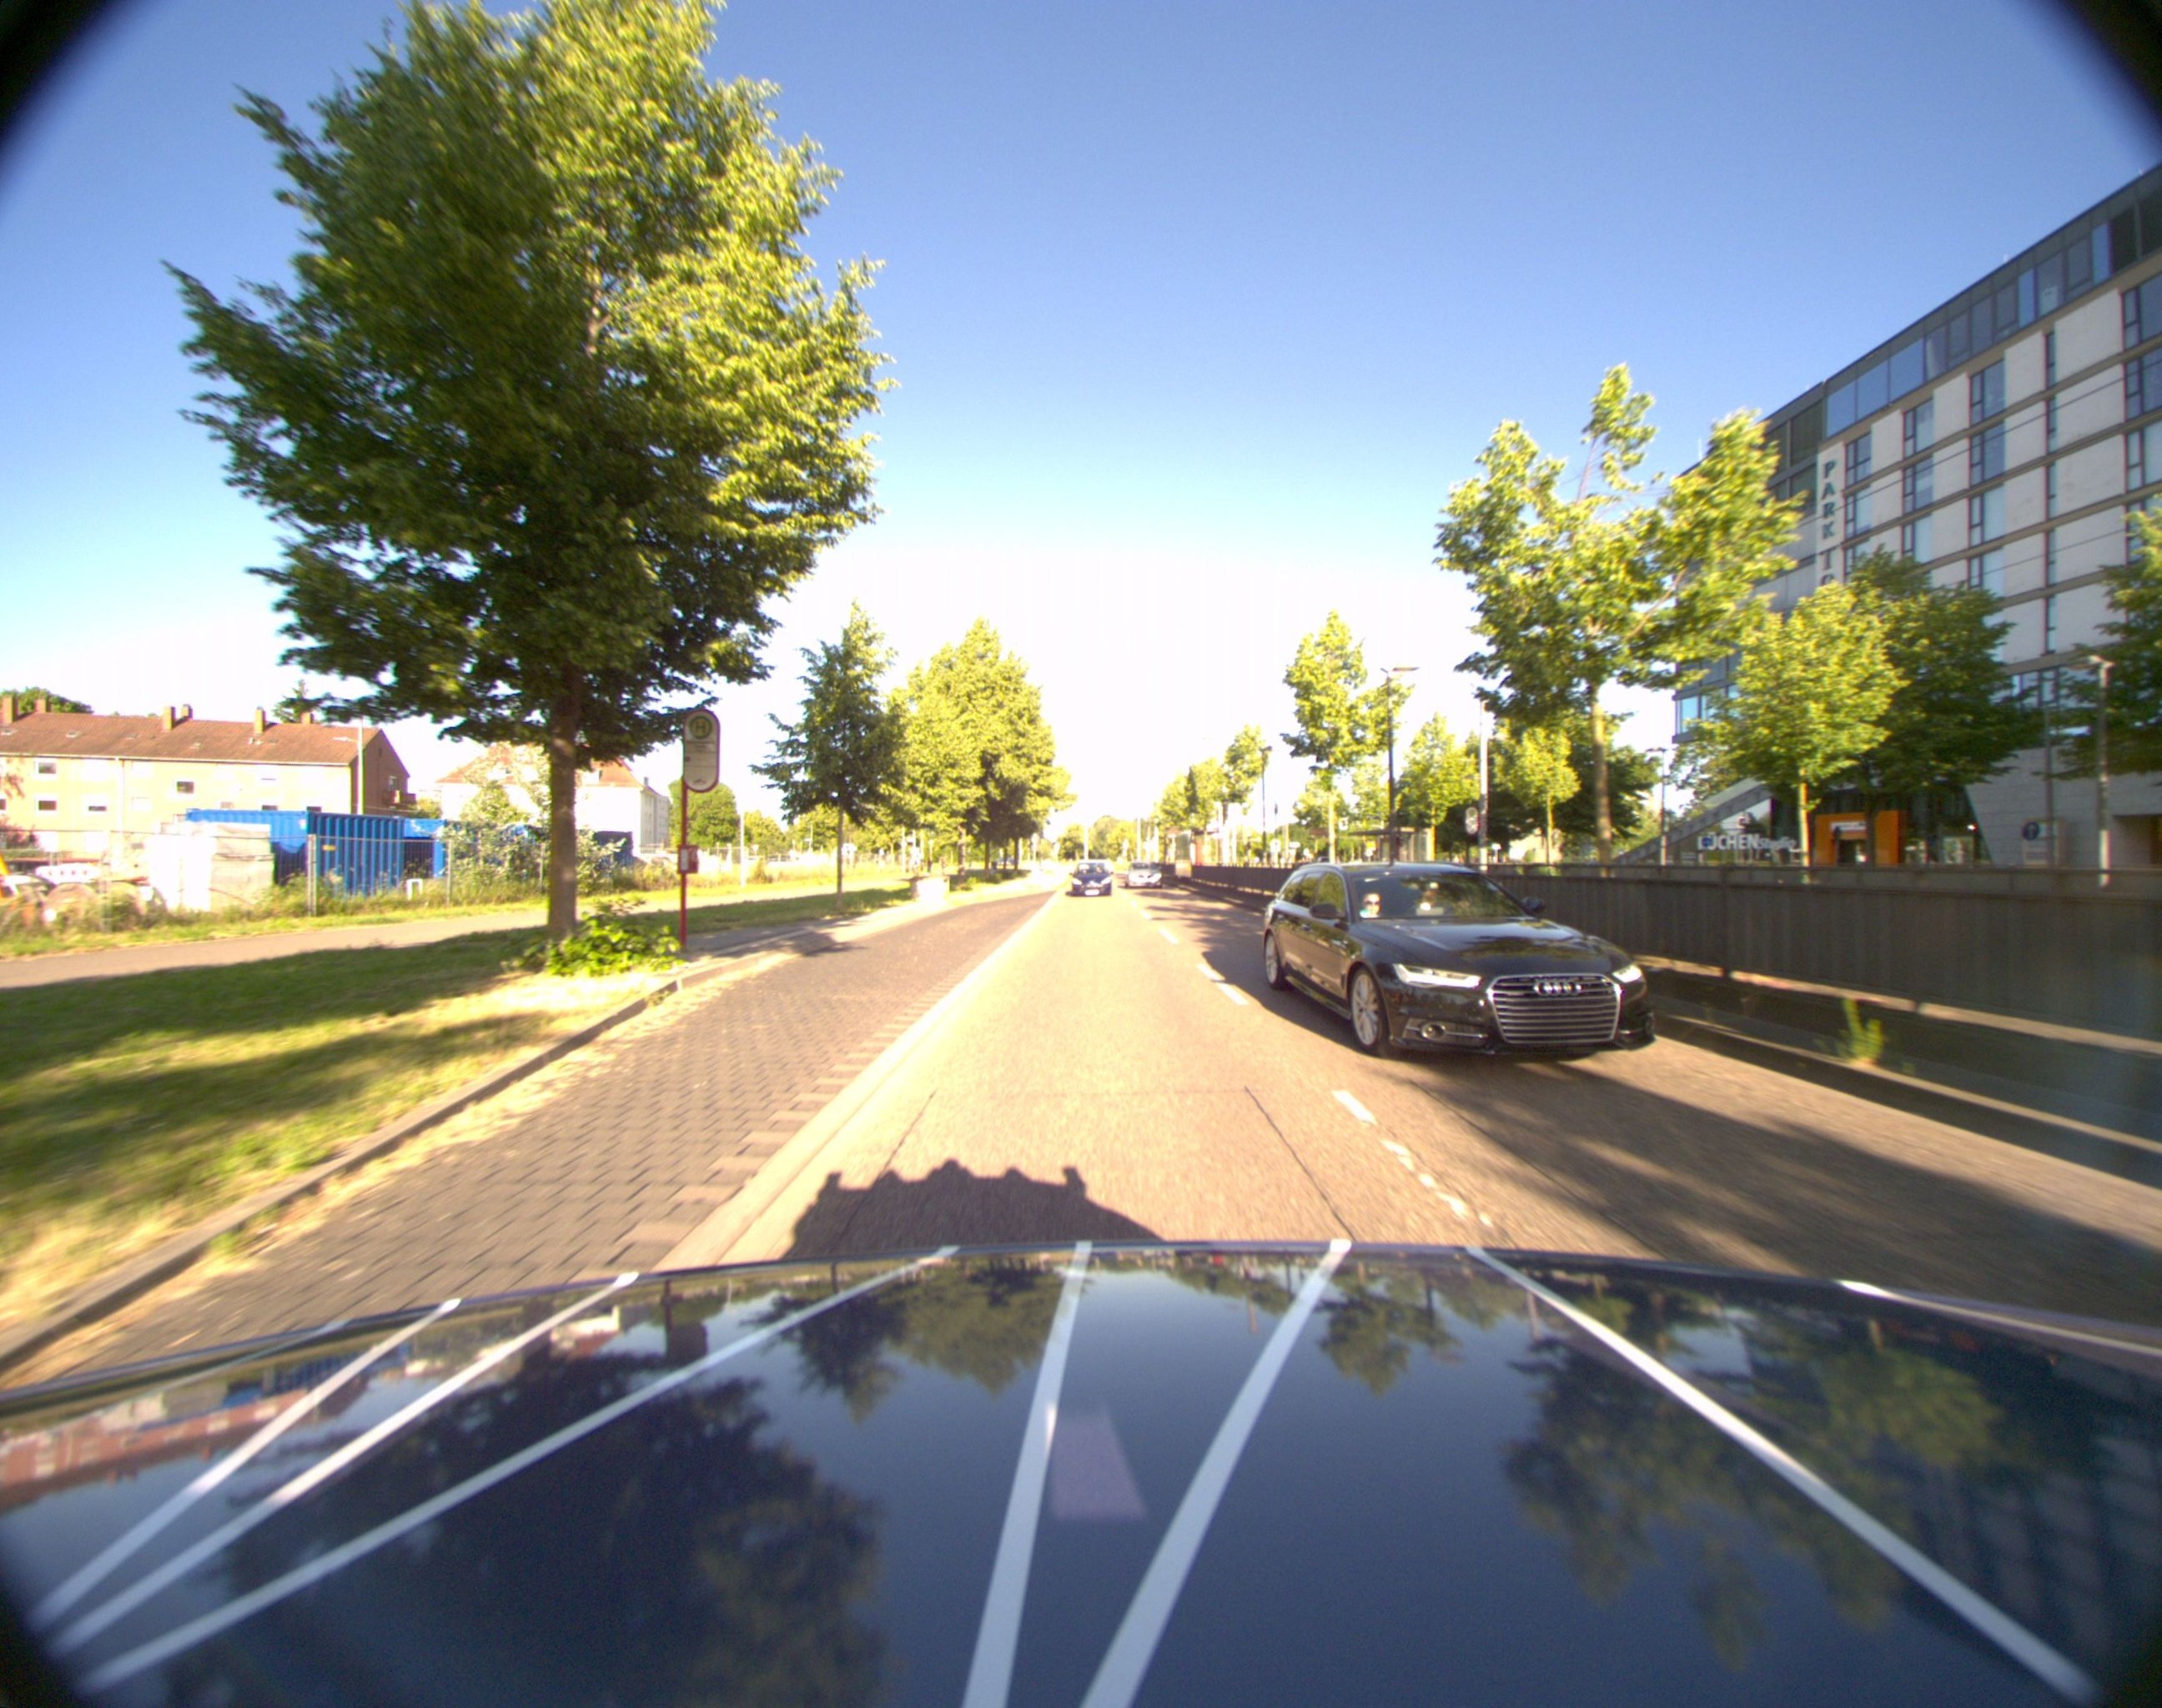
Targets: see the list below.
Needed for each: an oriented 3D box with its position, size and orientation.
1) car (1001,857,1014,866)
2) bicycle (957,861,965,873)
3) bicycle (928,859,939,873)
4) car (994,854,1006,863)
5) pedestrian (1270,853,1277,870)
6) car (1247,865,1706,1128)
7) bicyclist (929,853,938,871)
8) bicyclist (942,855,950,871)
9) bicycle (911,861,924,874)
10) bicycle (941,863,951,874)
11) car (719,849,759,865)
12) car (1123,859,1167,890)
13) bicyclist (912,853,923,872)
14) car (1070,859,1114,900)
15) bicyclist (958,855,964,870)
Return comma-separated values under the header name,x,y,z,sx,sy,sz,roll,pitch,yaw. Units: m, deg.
name,x,y,z,sx,sy,sz,roll,pitch,yaw
car,-11.963,1.211,123.871,1.701,1.555,3.676,0,0,1
bicycle,-11.900,1.271,75.395,0.479,1.076,1.644,0,2,2
bicycle,-12.248,1.010,63.040,0.507,1.145,1.605,1,0,2
car,-13.808,0.756,130.315,1.683,1.630,3.248,0,0,0
pedestrian,18.178,0.718,71.609,0.418,1.569,0.811,-1,2,-2
car,2.924,0.904,6.947,1.789,1.518,4.601,-1,0,0
bicyclist,-12.244,0.659,62.999,0.504,1.464,0.834,0,1,2
bicyclist,-13.296,0.857,74.756,0.592,1.578,0.965,0,2,2
bicycle,-13.488,1.090,62.650,0.657,1.006,1.820,0,0,1
bicycle,-13.291,1.418,74.797,0.593,0.955,1.900,0,1,1
car,-46.324,0.378,102.994,1.994,2.002,4.482,0,1,37
car,3.409,1.071,41.141,1.849,1.560,4.528,0,0,-1
bicyclist,-13.478,0.686,62.656,0.654,1.544,0.795,0,1,1
car,0.519,1.044,32.736,1.763,1.506,3.947,0,1,2
bicyclist,-11.907,0.870,75.351,0.471,1.477,0.915,0,2,2
